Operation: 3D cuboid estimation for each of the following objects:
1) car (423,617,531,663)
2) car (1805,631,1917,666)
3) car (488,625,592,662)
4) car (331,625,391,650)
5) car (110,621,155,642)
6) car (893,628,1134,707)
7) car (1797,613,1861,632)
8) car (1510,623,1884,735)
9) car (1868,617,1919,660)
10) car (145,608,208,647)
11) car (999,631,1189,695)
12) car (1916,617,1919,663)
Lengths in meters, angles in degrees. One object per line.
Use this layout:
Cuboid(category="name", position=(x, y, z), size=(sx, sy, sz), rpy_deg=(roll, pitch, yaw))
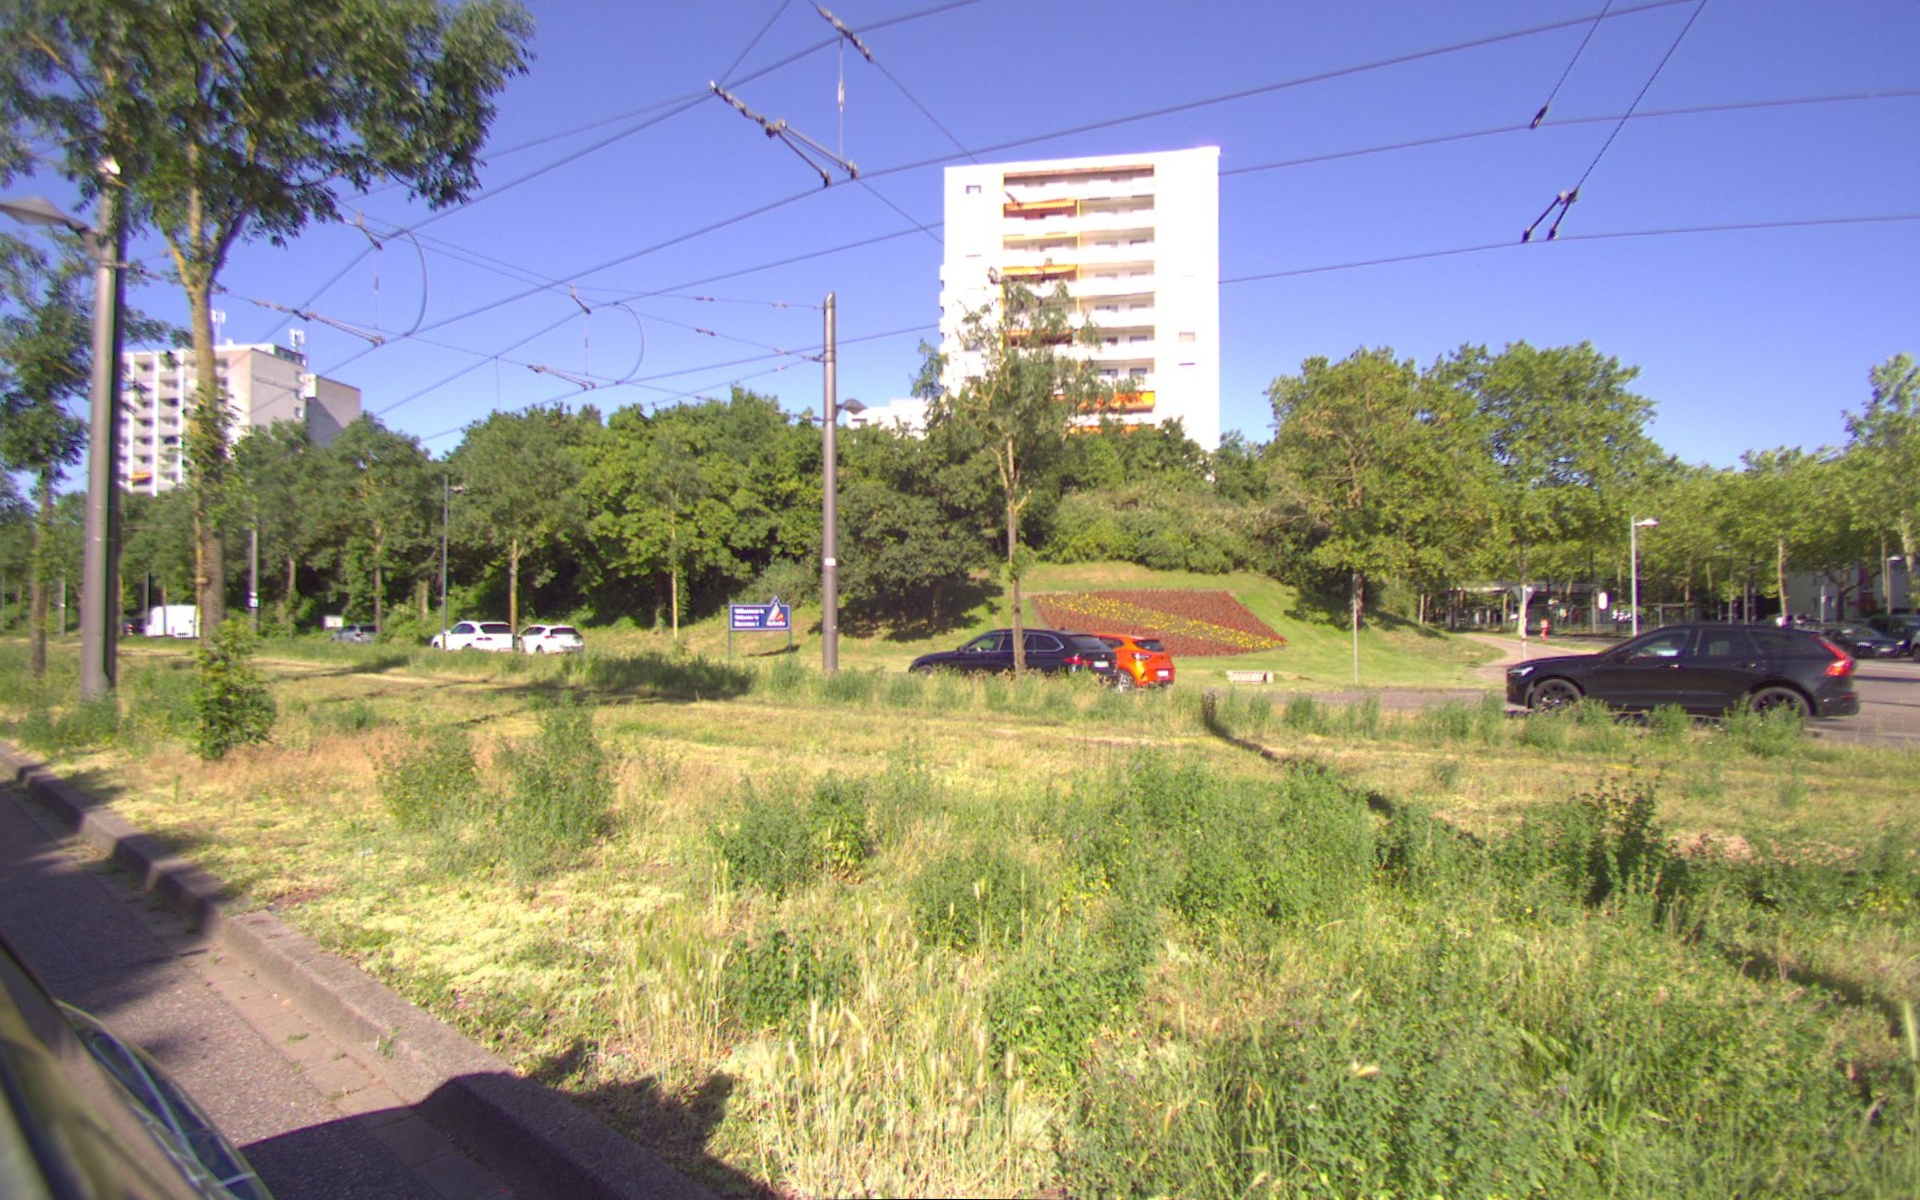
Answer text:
Cuboid(category="car", position=(-18.341, 1.467, 38.325), size=(4.651, 1.634, 1.876), rpy_deg=(-1, -1, 39))
Cuboid(category="car", position=(38.588, 2.035, 43.488), size=(1.717, 1.332, 3.987), rpy_deg=(-1, -1, 10))
Cuboid(category="car", position=(-17.285, 1.736, 41.592), size=(4.534, 1.408, 1.882), rpy_deg=(-1, -1, 36))
Cuboid(category="car", position=(-32.570, 2.008, 54.971), size=(4.000, 1.302, 1.778), rpy_deg=(-1, -1, 43))
Cuboid(category="car", position=(-66.711, 2.511, 81.565), size=(5.270, 1.596, 1.973), rpy_deg=(-1, -1, 41))
Cuboid(category="car", position=(1.022, 1.334, 21.377), size=(4.990, 1.420, 1.972), rpy_deg=(-1, -1, 43))
Cuboid(category="car", position=(77.049, 1.986, 89.778), size=(1.864, 1.608, 4.010), rpy_deg=(0, -1, -36))
Cuboid(category="car", position=(11.627, 1.139, 16.214), size=(4.630, 1.492, 1.972), rpy_deg=(-1, -1, 42))
Cuboid(category="car", position=(41.227, 1.620, 43.140), size=(1.892, 1.763, 3.987), rpy_deg=(-1, -1, 10))
Cuboid(category="car", position=(-51.427, 1.786, 66.372), size=(6.877, 2.387, 2.018), rpy_deg=(-1, -1, 41))
Cuboid(category="car", position=(3.037, 1.398, 23.461), size=(4.174, 1.307, 1.640), rpy_deg=(-1, -1, 40))
Cuboid(category="car", position=(37.315, 1.504, 36.731), size=(1.892, 1.763, 3.987), rpy_deg=(-1, -1, 10))
